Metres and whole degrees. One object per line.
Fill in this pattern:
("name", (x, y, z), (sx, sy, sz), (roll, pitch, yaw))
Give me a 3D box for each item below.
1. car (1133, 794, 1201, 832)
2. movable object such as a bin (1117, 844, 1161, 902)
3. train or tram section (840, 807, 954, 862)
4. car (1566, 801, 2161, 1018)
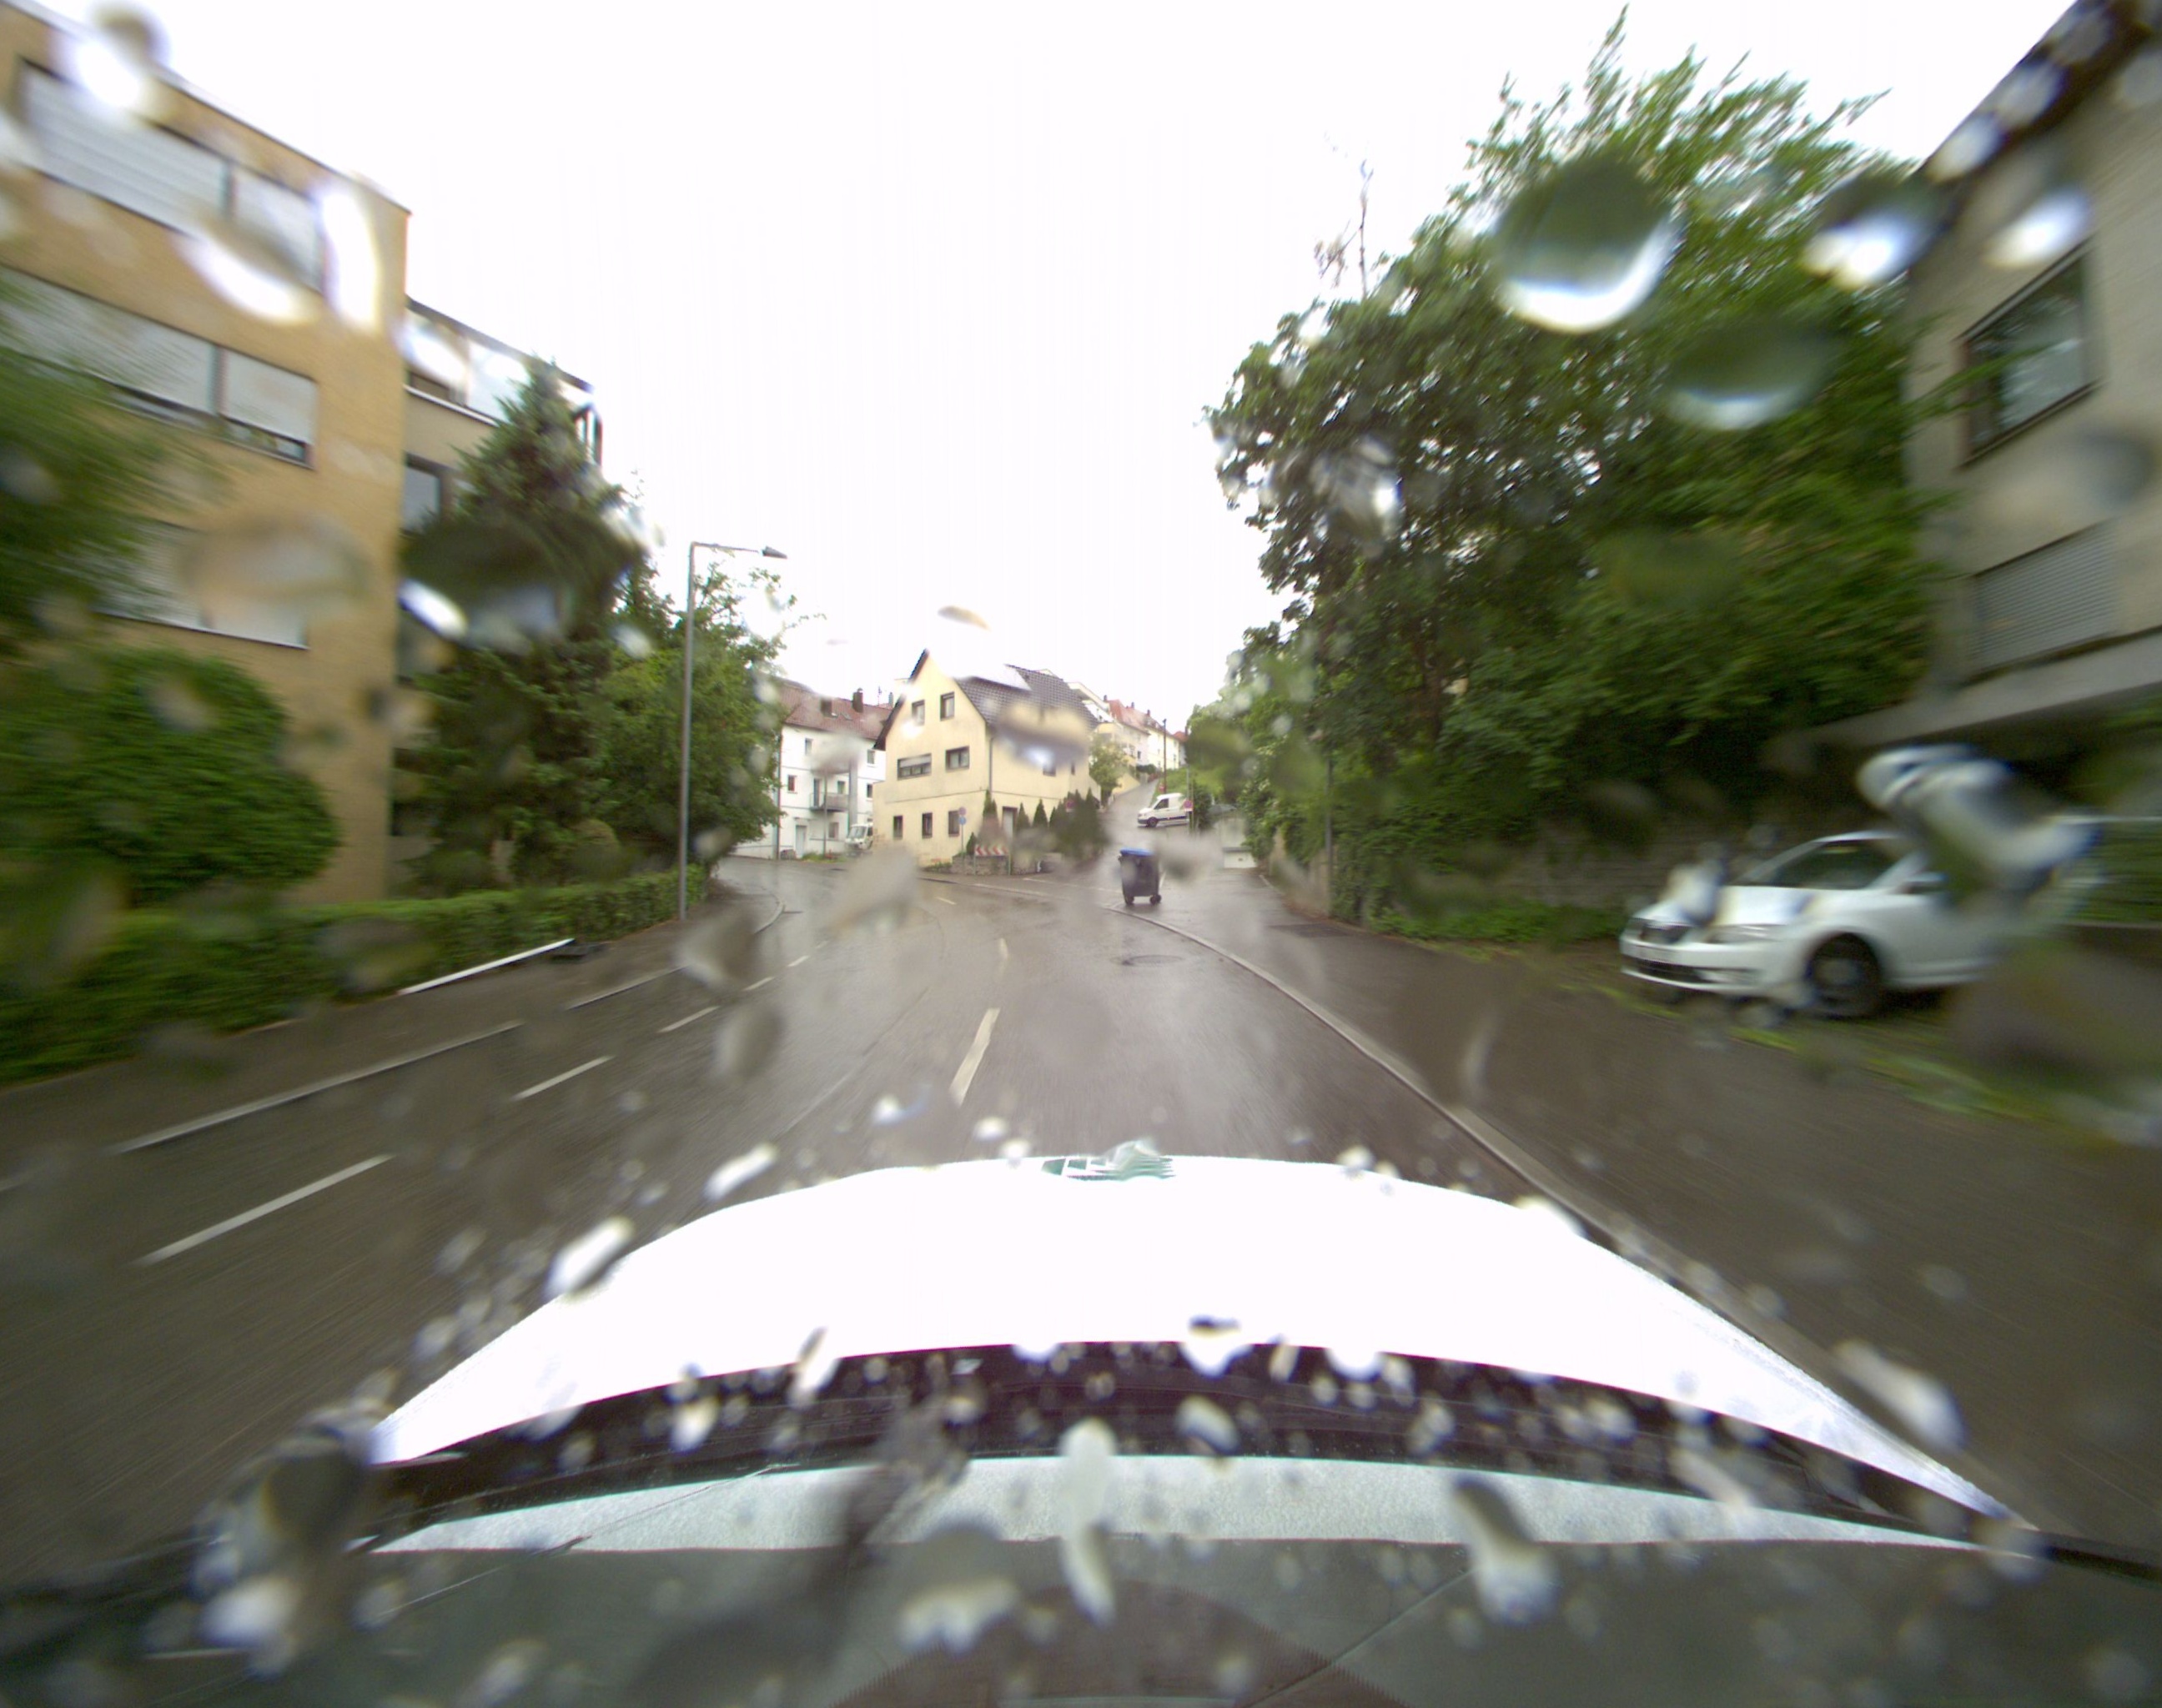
("car", (6.499, -3.123, 61.973), (4.927, 2.569, 1.904), (-3, 0, -1))
("movable object such as a bin", (1.513, 0.473, 20.954), (1.076, 1.442, 1.460), (0, 0, 7))
("train or tram section", (-11.338, -1.196, 50.751), (2.335, 3.203, 6.914), (-1, 1, 39))
("car", (6.879, 0.405, 7.093), (4.125, 1.476, 1.906), (-3, 0, 3))
